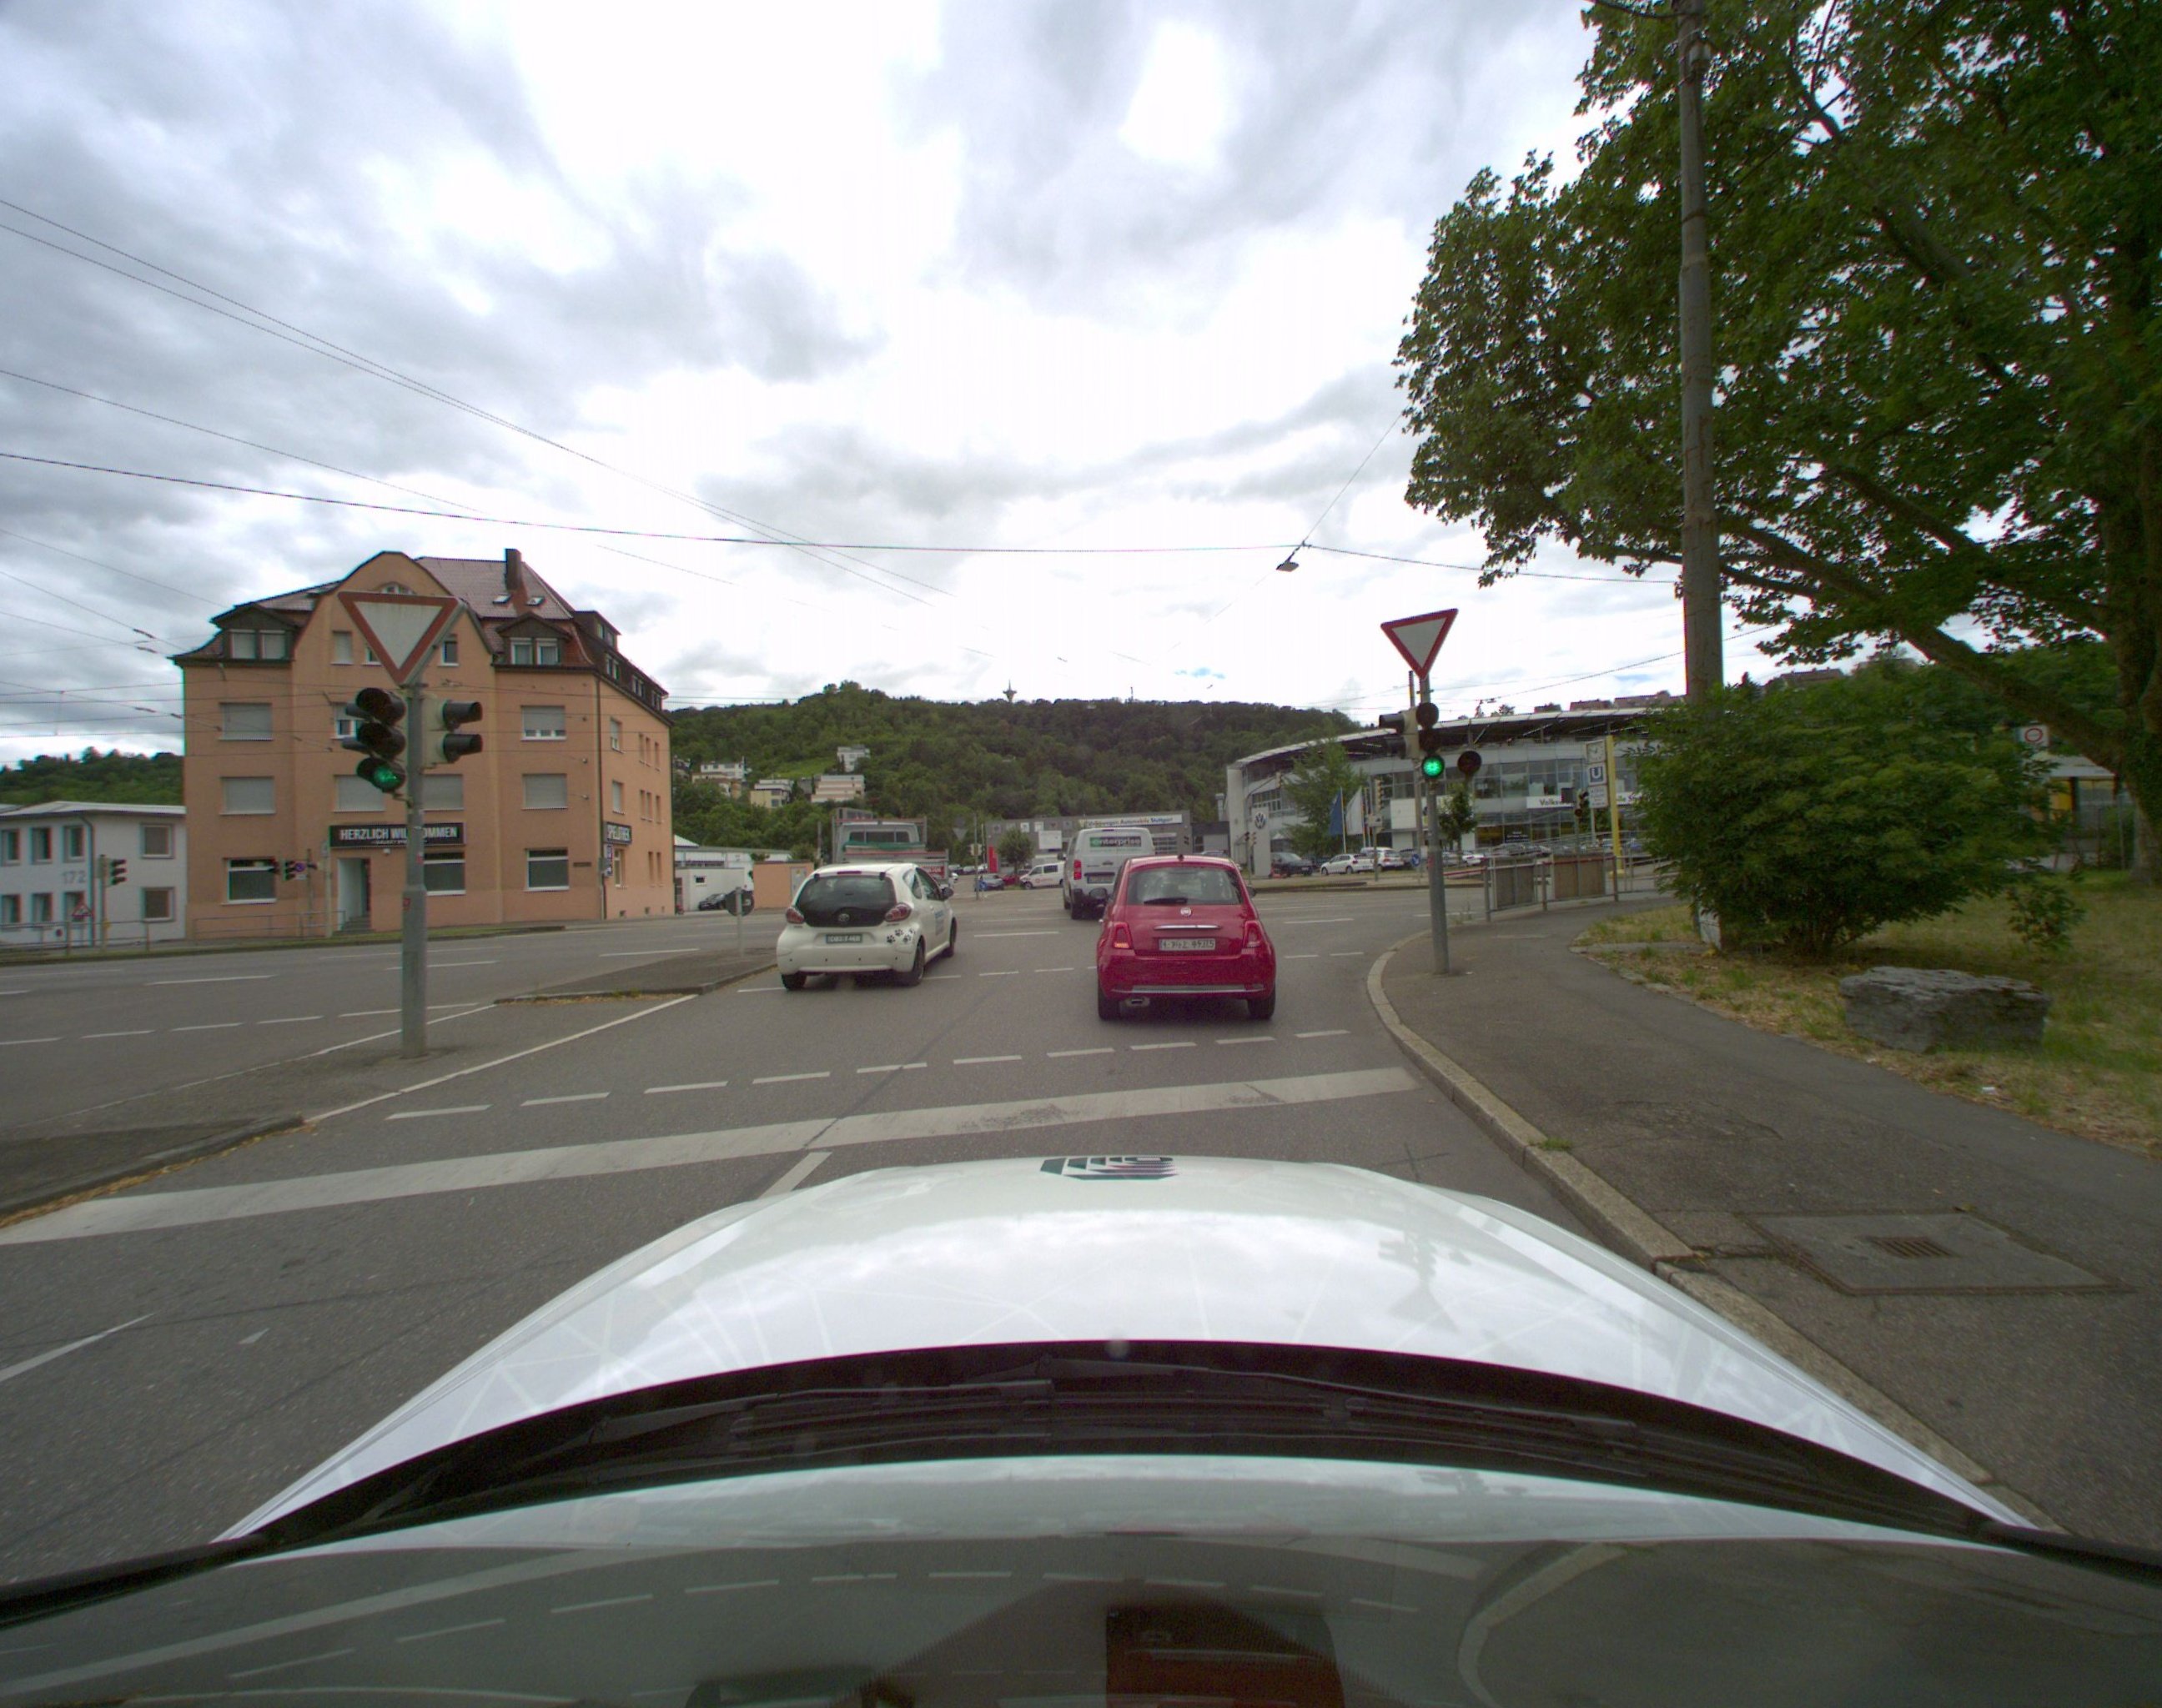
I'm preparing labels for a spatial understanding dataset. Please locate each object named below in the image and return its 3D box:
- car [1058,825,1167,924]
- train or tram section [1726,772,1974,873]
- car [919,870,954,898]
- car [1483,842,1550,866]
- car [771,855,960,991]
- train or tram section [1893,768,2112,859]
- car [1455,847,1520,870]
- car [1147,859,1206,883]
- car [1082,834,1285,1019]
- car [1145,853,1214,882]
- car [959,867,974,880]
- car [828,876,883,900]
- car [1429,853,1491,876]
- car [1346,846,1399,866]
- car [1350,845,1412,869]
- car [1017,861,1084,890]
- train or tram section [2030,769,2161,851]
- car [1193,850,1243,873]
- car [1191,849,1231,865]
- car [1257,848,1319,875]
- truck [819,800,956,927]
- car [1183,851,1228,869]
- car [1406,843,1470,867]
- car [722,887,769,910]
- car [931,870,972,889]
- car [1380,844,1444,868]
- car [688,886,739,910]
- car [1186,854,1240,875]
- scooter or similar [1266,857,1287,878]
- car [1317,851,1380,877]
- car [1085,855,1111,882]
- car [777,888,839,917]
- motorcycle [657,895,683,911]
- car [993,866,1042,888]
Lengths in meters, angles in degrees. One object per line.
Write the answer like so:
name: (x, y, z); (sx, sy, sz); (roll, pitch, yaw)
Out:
car: (0.584, 0.399, 19.290); (1.995, 2.040, 4.823); (1, 1, -5)
train or tram section: (34.643, -1.465, 36.600); (11.909, 3.966, 2.732); (-3, -1, -19)
car: (-10.461, 2.181, 59.319); (2.073, 1.853, 4.897); (1, -2, -5)
car: (31.841, -0.002, 59.653); (1.929, 1.554, 3.969); (-3, -1, -22)
car: (-2.653, 0.767, 10.773); (1.589, 1.420, 3.372); (-3, 0, -1)
train or tram section: (45.916, -2.038, 40.509); (11.909, 3.966, 2.732); (-3, -1, -19)
car: (29.477, 0.363, 59.163); (1.929, 1.554, 3.970); (2, -2, -22)
car: (6.923, 1.260, 59.375); (3.980, 1.706, 1.996); (1, -2, -5)
car: (1.079, 0.640, 8.930); (1.689, 1.525, 4.006); (1, -1, 6)
car: (6.172, 0.796, 50.803); (3.955, 1.639, 2.010); (0, 2, 18)
car: (-17.310, 2.963, 123.253); (1.990, 1.997, 4.503); (1, -2, -4)
car: (-15.947, 2.364, 57.640); (3.573, 1.486, 1.591); (-2, -1, -23)
car: (27.209, 0.812, 58.615); (1.730, 1.554, 3.970); (2, -2, -22)
car: (24.615, 0.197, 68.876); (1.933, 1.554, 3.960); (2, -3, -31)
car: (20.496, 0.234, 55.817); (1.816, 1.477, 3.970); (2, -2, -22)
car: (-2.450, 1.786, 65.991); (4.972, 2.014, 2.005); (-4, -3, 9)
train or tram section: (57.181, -2.479, 44.411); (11.909, 3.966, 2.732); (-3, -1, -19)
car: (13.115, 0.735, 78.172); (4.475, 1.997, 2.002); (1, -2, 4)
car: (15.112, 0.307, 94.787); (4.476, 1.729, 2.002); (1, -2, 3)
car: (13.654, 0.524, 53.906); (2.002, 1.640, 3.969); (-1, -1, -22)
truck: (-4.607, 0.309, 18.585); (2.322, 2.422, 5.613); (-1, -3, -21)
car: (13.007, 0.659, 85.370); (4.476, 1.729, 2.002); (1, -2, 3)
car: (25.227, 0.081, 57.629); (1.929, 1.554, 3.970); (2, -2, -22)
car: (-27.972, 3.677, 68.080); (1.986, 1.839, 4.510); (1, -2, 1)
car: (-14.537, 2.854, 91.810); (4.494, 1.997, 1.994); (1, -2, -9)
car: (22.969, 0.166, 56.660); (1.929, 1.554, 3.970); (2, -2, -22)
car: (-30.523, 3.622, 67.839); (1.986, 1.839, 4.512); (1, -2, 2)
car: (11.368, 0.914, 70.253); (4.476, 1.729, 2.002); (1, -2, 3)
scooter or similar: (12.267, 0.872, 51.102); (1.196, 1.288, 0.575); (1, -2, -1)
car: (18.089, 0.696, 55.198); (2.002, 1.640, 3.969); (2, -2, -22)
car: (1.444, 1.276, 68.948); (1.986, 2.014, 5.018); (-3, -3, 1)
car: (-21.930, 3.930, 65.598); (4.502, 2.243, 1.990); (2, -2, -15)
motorcycle: (-25.667, 3.063, 50.856); (1.688, 0.984, 0.532); (0, -3, 30)
car: (-6.154, 2.230, 79.398); (4.475, 1.997, 2.002); (1, -2, 4)
